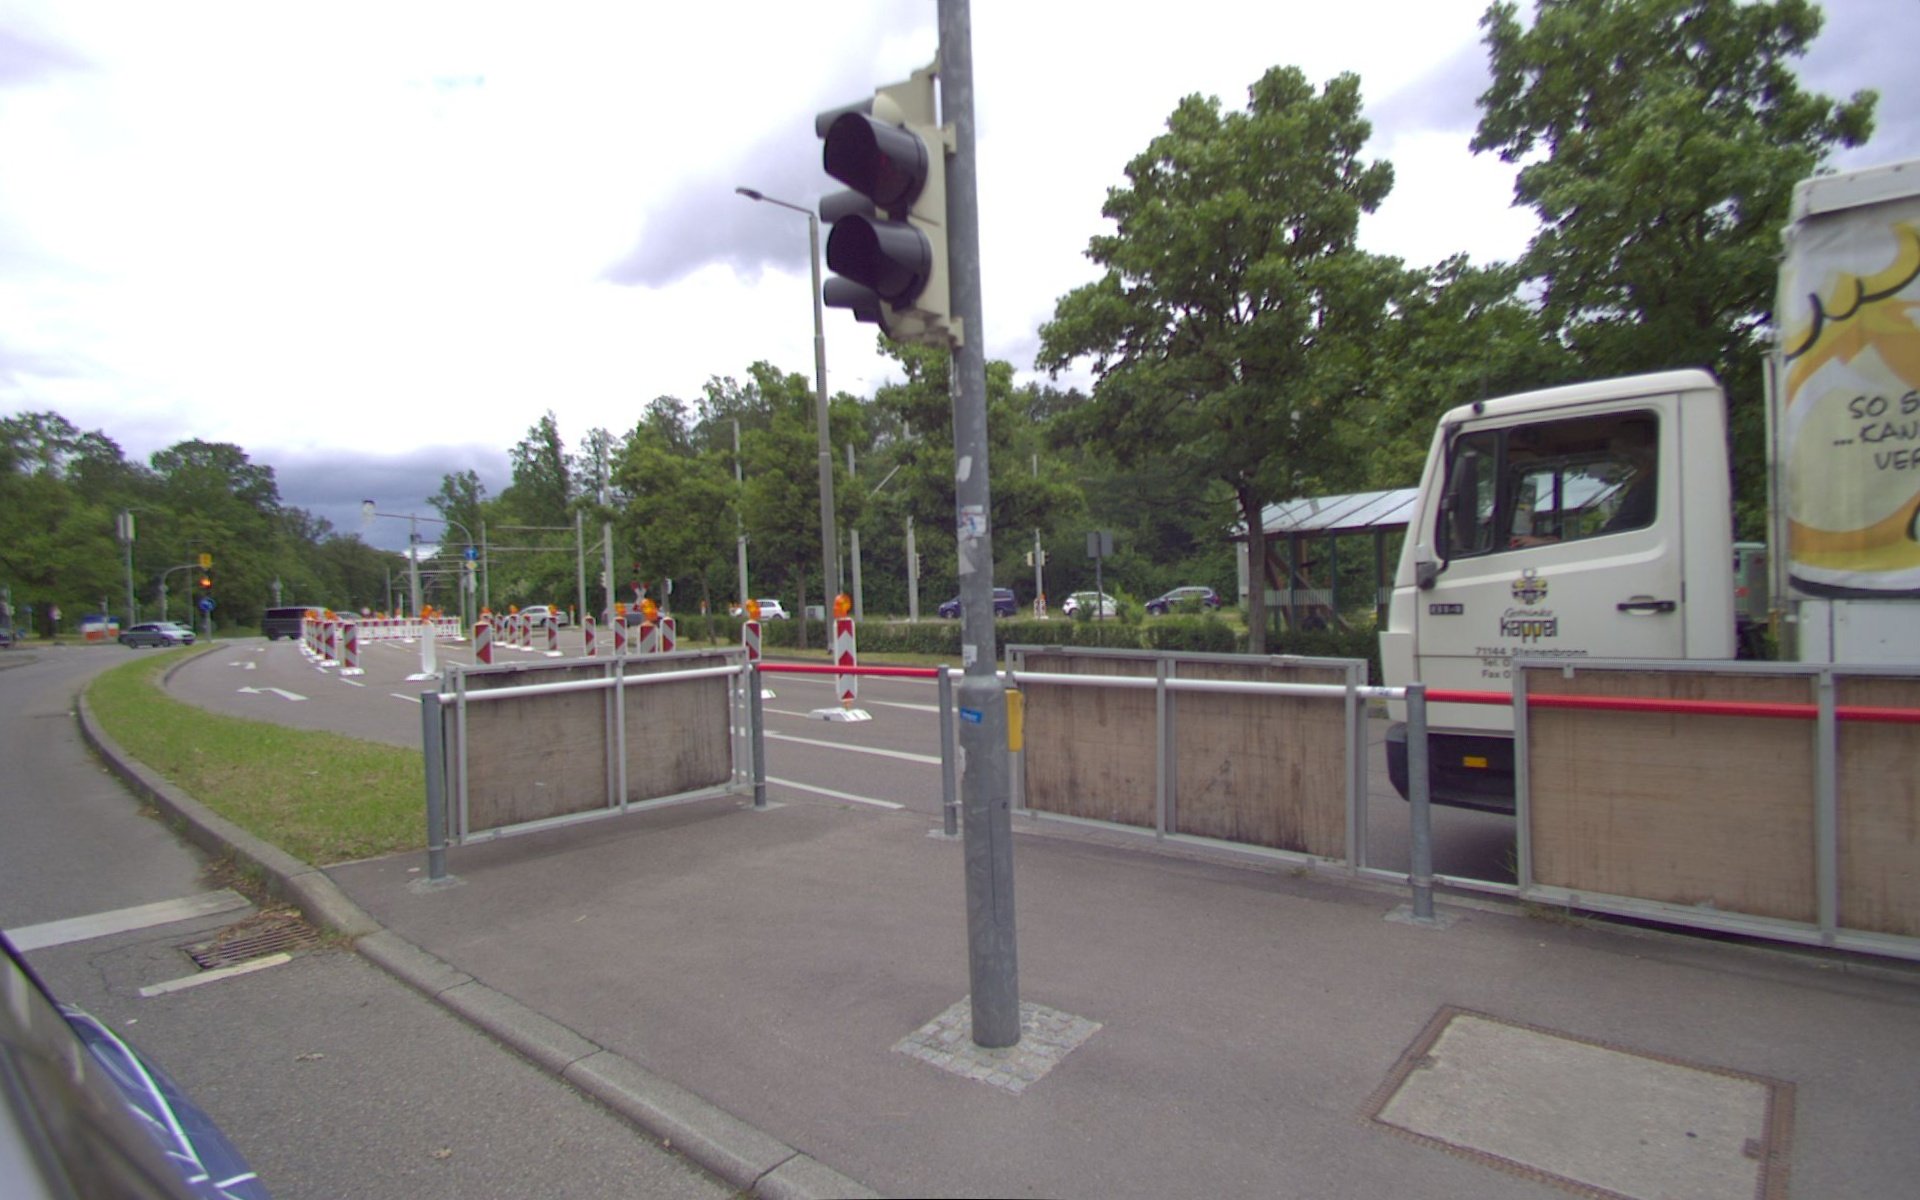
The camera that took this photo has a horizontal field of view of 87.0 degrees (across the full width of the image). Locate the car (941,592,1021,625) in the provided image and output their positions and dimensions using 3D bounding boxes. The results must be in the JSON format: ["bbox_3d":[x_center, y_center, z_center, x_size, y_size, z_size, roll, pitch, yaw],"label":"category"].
[{"bbox_3d":[1.364,0.530,63.599,4.777,1.829,1.996,-2,1,8],"label":"car"}]

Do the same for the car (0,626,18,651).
[{"bbox_3d":[-71.030,2.902,73.129,4.422,1.741,1.994,-2,1,10],"label":"car"}]

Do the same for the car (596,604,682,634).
[{"bbox_3d":[-18.423,1.086,58.202,4.337,1.447,1.793,-2,1,6],"label":"car"}]

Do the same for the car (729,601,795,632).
[{"bbox_3d":[-12.774,1.059,65.513,3.747,1.735,1.855,-2,1,7],"label":"car"}]

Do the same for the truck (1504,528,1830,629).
[{"bbox_3d":[17.807,-0.521,25.969,6.244,2.186,2.595,-2,1,15],"label":"truck"}]

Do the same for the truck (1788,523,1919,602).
[{"bbox_3d":[50.059,-2.071,53.619,8.671,3.910,3.779,-2,1,9],"label":"truck"}]

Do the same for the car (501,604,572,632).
[{"bbox_3d":[-28.302,1.208,67.674,3.999,1.664,1.855,-2,1,7],"label":"car"}]

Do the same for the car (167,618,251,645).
[{"bbox_3d":[-52.107,2.199,70.279,4.390,1.607,1.880,-2,1,1],"label":"car"}]

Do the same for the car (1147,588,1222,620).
[{"bbox_3d":[13.564,0.246,61.239,4.269,1.696,1.992,-2,1,14],"label":"car"}]

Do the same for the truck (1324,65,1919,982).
[{"bbox_3d":[4.994,-0.275,3.988,6.199,3.263,2.603,-1,-1,39],"label":"truck"}]

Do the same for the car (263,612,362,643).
[{"bbox_3d":[-38.964,1.648,60.966,4.847,1.599,1.955,-2,1,5],"label":"car"}]

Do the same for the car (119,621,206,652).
[{"bbox_3d":[-48.728,2.222,61.901,3.932,1.652,1.896,-2,1,5],"label":"car"}]

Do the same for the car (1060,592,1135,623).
[{"bbox_3d":[7.456,0.387,55.137,3.951,1.499,1.766,-2,1,6],"label":"car"}]

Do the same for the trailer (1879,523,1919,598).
[{"bbox_3d":[56.040,-2.313,52.742,11.733,3.910,3.778,-2,1,9],"label":"trailer"}]
